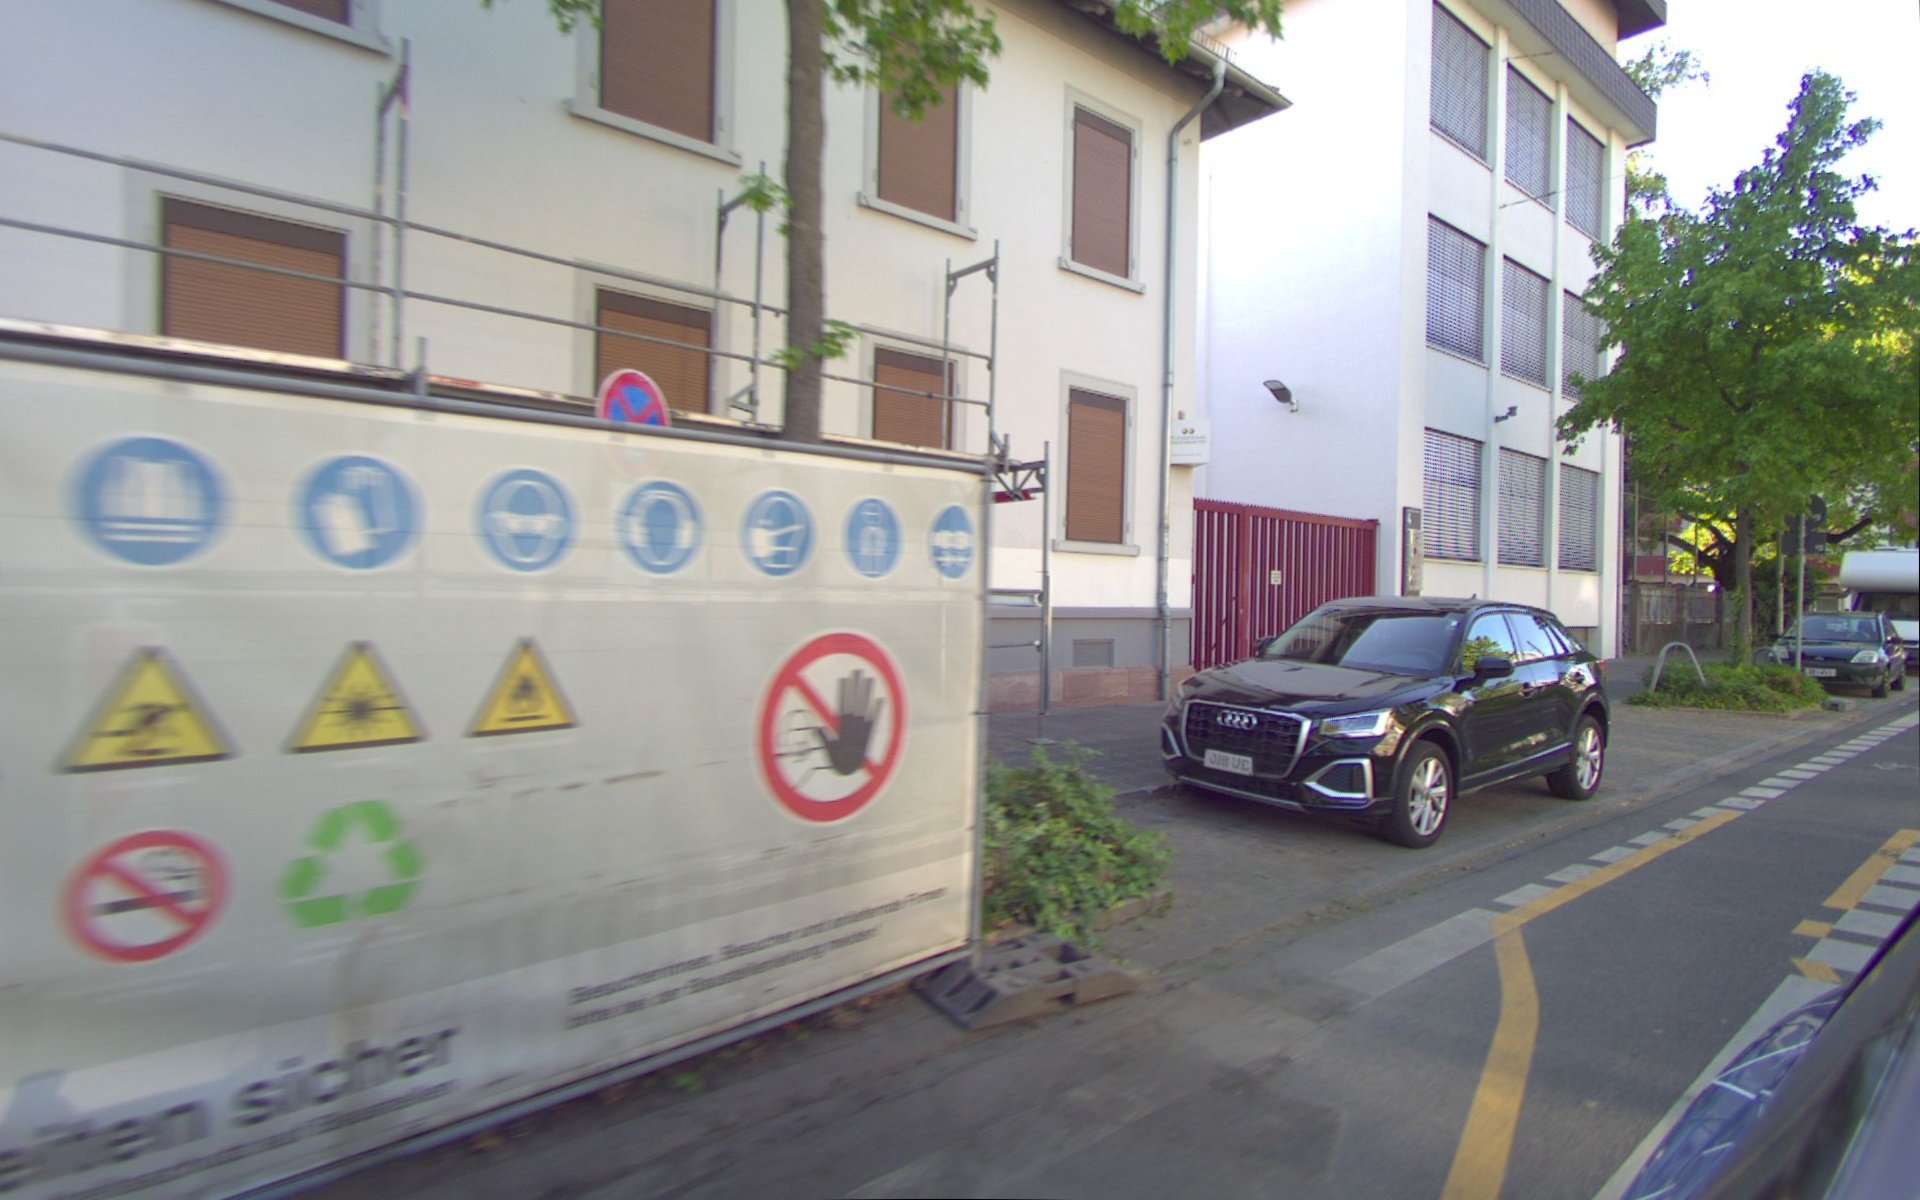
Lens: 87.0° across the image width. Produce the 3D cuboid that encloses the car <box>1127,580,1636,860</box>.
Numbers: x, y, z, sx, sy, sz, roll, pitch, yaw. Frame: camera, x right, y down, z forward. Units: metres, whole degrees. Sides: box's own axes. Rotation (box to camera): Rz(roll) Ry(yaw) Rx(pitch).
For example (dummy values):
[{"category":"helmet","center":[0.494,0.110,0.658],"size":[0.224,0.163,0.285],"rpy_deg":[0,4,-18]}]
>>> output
[{"category":"car","center":[3.285,0.660,7.544],"size":[4.035,1.502,1.768],"rpy_deg":[0,2,-39]}]

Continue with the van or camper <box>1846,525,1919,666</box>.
[{"category":"van or camper","center":[23.976,-0.085,24.825],"size":[7.159,3.131,2.172],"rpy_deg":[0,2,-40]}]

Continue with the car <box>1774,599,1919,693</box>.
[{"category":"car","center":[16.194,0.752,18.302],"size":[3.734,1.465,1.655],"rpy_deg":[0,2,-41]}]
